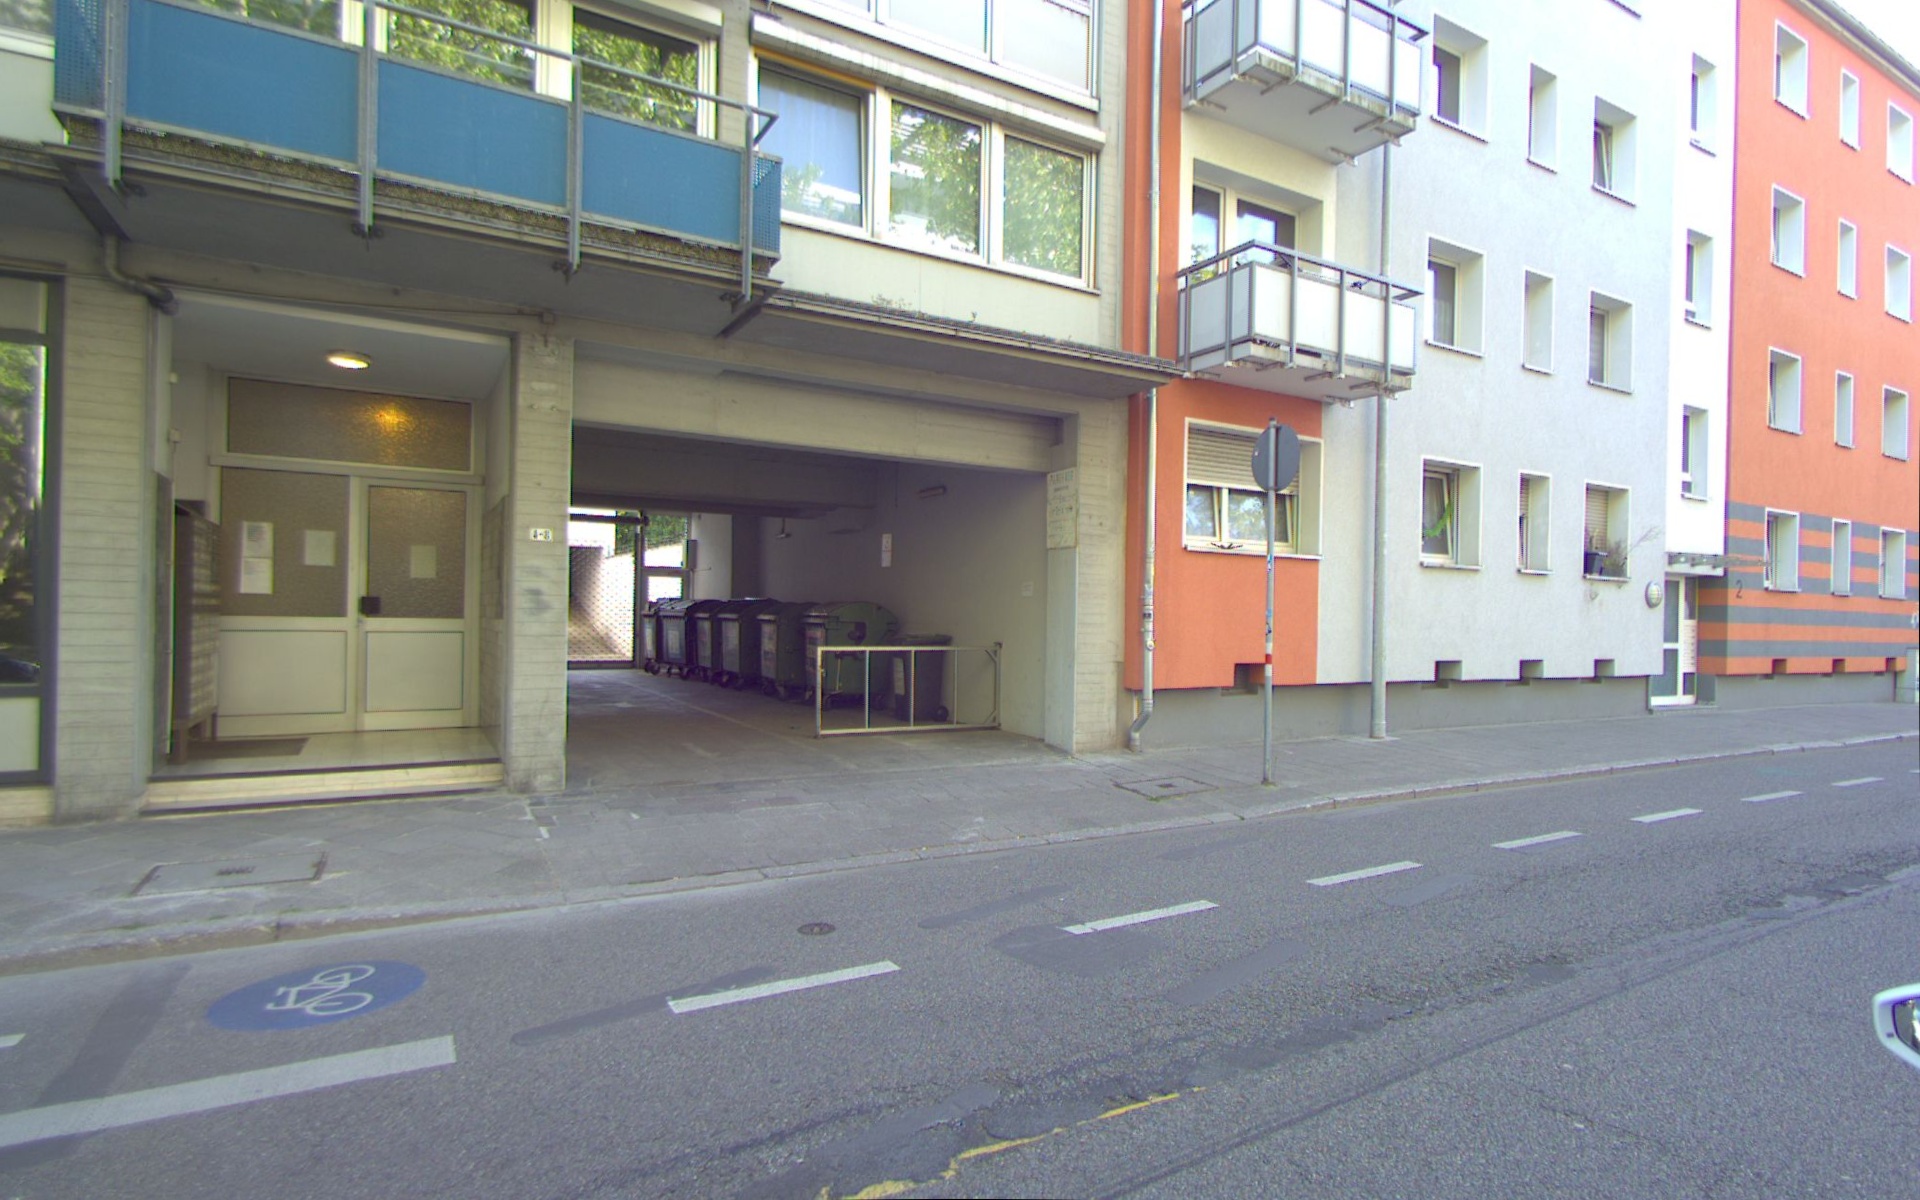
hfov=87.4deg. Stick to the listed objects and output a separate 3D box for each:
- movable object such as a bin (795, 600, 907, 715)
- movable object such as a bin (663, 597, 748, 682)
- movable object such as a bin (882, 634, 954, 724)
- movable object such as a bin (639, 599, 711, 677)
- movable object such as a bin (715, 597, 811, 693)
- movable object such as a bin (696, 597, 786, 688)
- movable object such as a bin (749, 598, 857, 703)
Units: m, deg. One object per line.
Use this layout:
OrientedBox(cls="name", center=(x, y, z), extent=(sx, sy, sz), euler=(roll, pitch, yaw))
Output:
OrientedBox(cls="movable object such as a bin", center=(-1.518, 0.758, 13.810), extent=(1.128, 1.484, 1.255), euler=(2, 0, -28))
OrientedBox(cls="movable object such as a bin", center=(-4.748, 0.725, 18.691), extent=(1.264, 1.506, 1.155), euler=(2, 0, -28))
OrientedBox(cls="movable object such as a bin", center=(-0.519, 0.963, 12.457), extent=(0.694, 1.061, 0.567), euler=(2, 0, -28))
OrientedBox(cls="movable object such as a bin", center=(-5.667, 0.736, 19.946), extent=(1.128, 1.484, 1.129), euler=(2, 0, -28))
OrientedBox(cls="movable object such as a bin", center=(-3.281, 0.730, 16.699), extent=(1.264, 1.506, 1.155), euler=(2, 0, -28))
OrientedBox(cls="movable object such as a bin", center=(-3.884, 0.732, 17.748), extent=(1.264, 1.515, 1.155), euler=(2, 0, -28))
OrientedBox(cls="movable object such as a bin", center=(-2.384, 0.738, 15.163), extent=(1.264, 1.493, 1.265), euler=(2, -1, -28))
